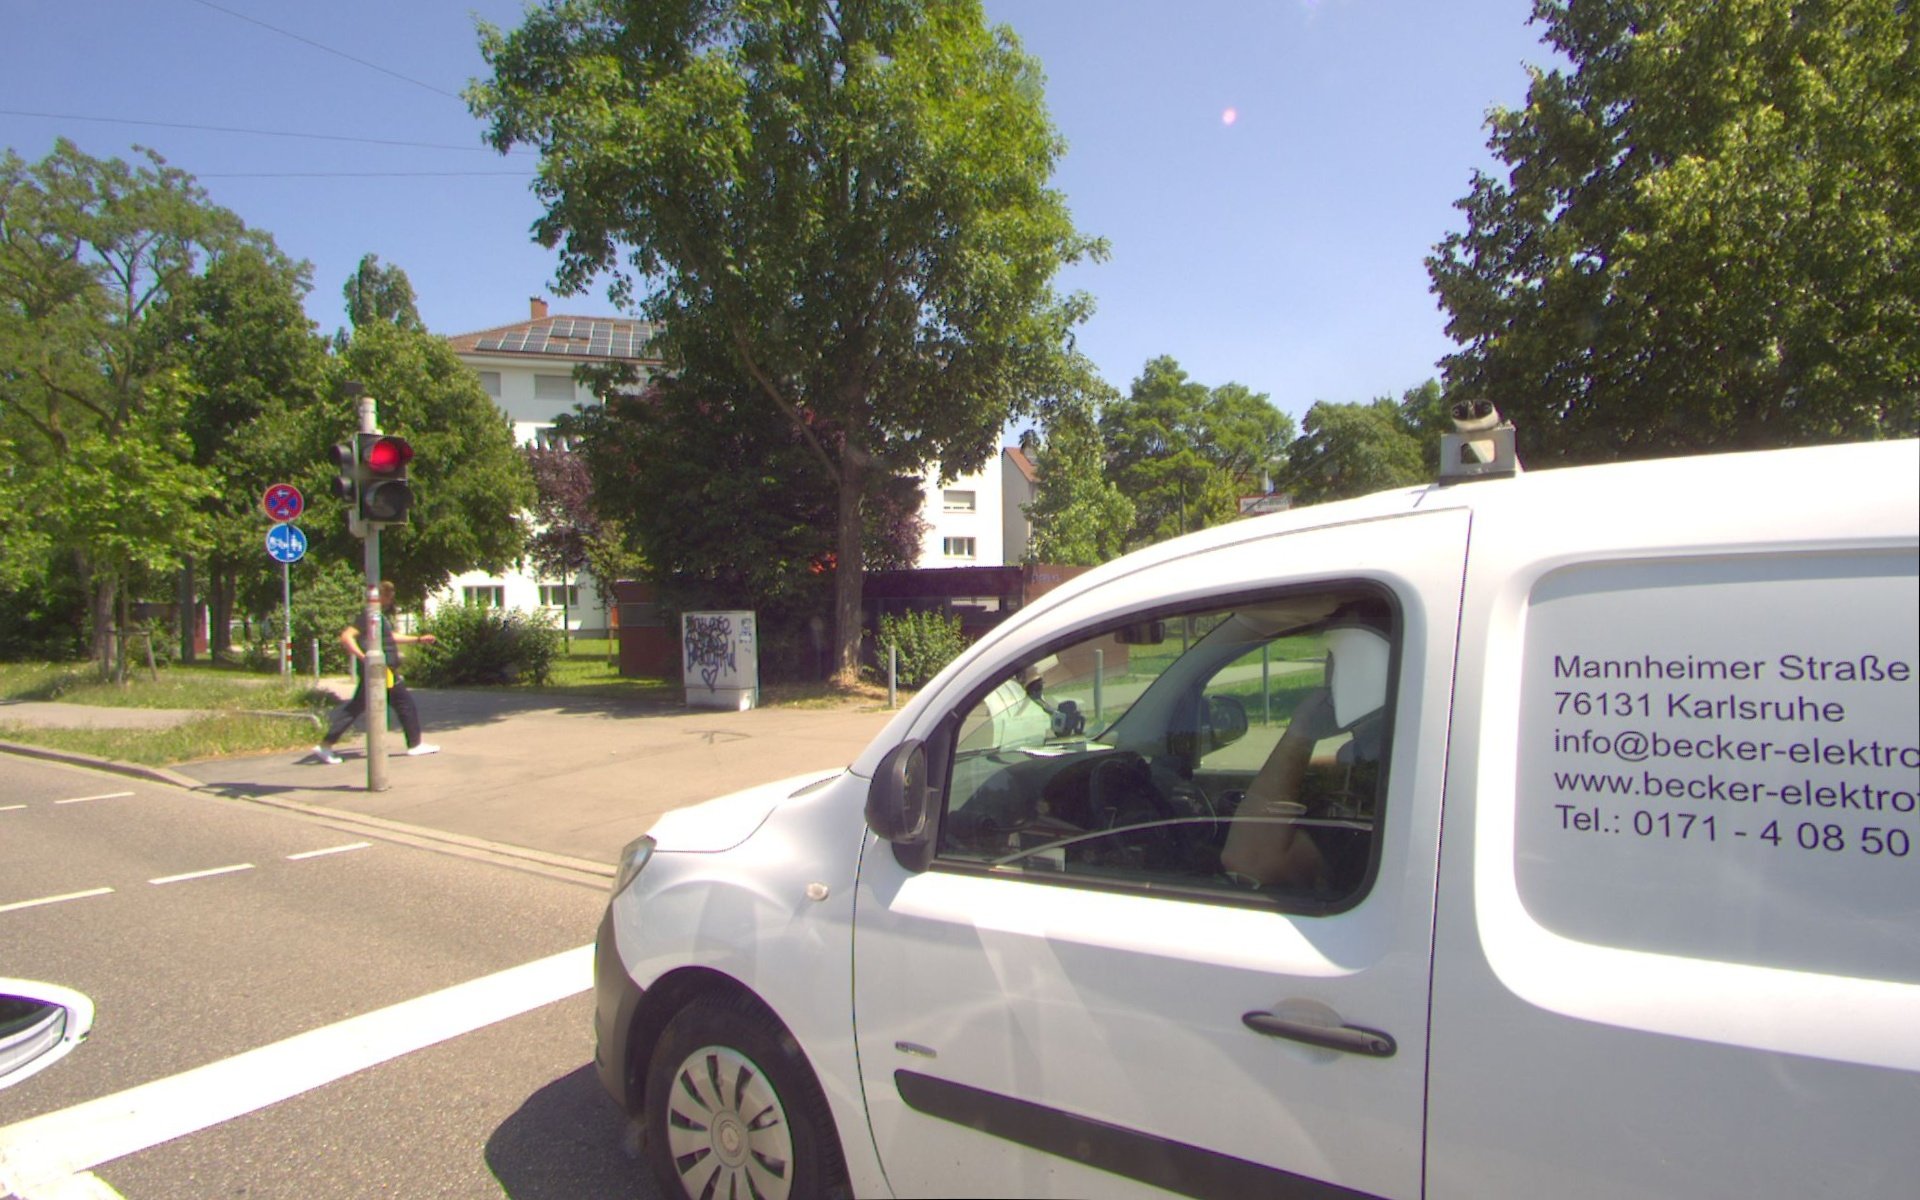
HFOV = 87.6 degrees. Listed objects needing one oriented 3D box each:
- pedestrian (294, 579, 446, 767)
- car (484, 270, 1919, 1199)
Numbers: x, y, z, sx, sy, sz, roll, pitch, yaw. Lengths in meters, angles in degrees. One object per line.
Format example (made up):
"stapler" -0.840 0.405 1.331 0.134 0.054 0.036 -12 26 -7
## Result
"pedestrian" -6.067 0.717 10.382 1.169 1.802 0.837 -3 1 -23
"car" 1.125 0.566 2.301 4.384 1.850 1.990 -1 0 32
